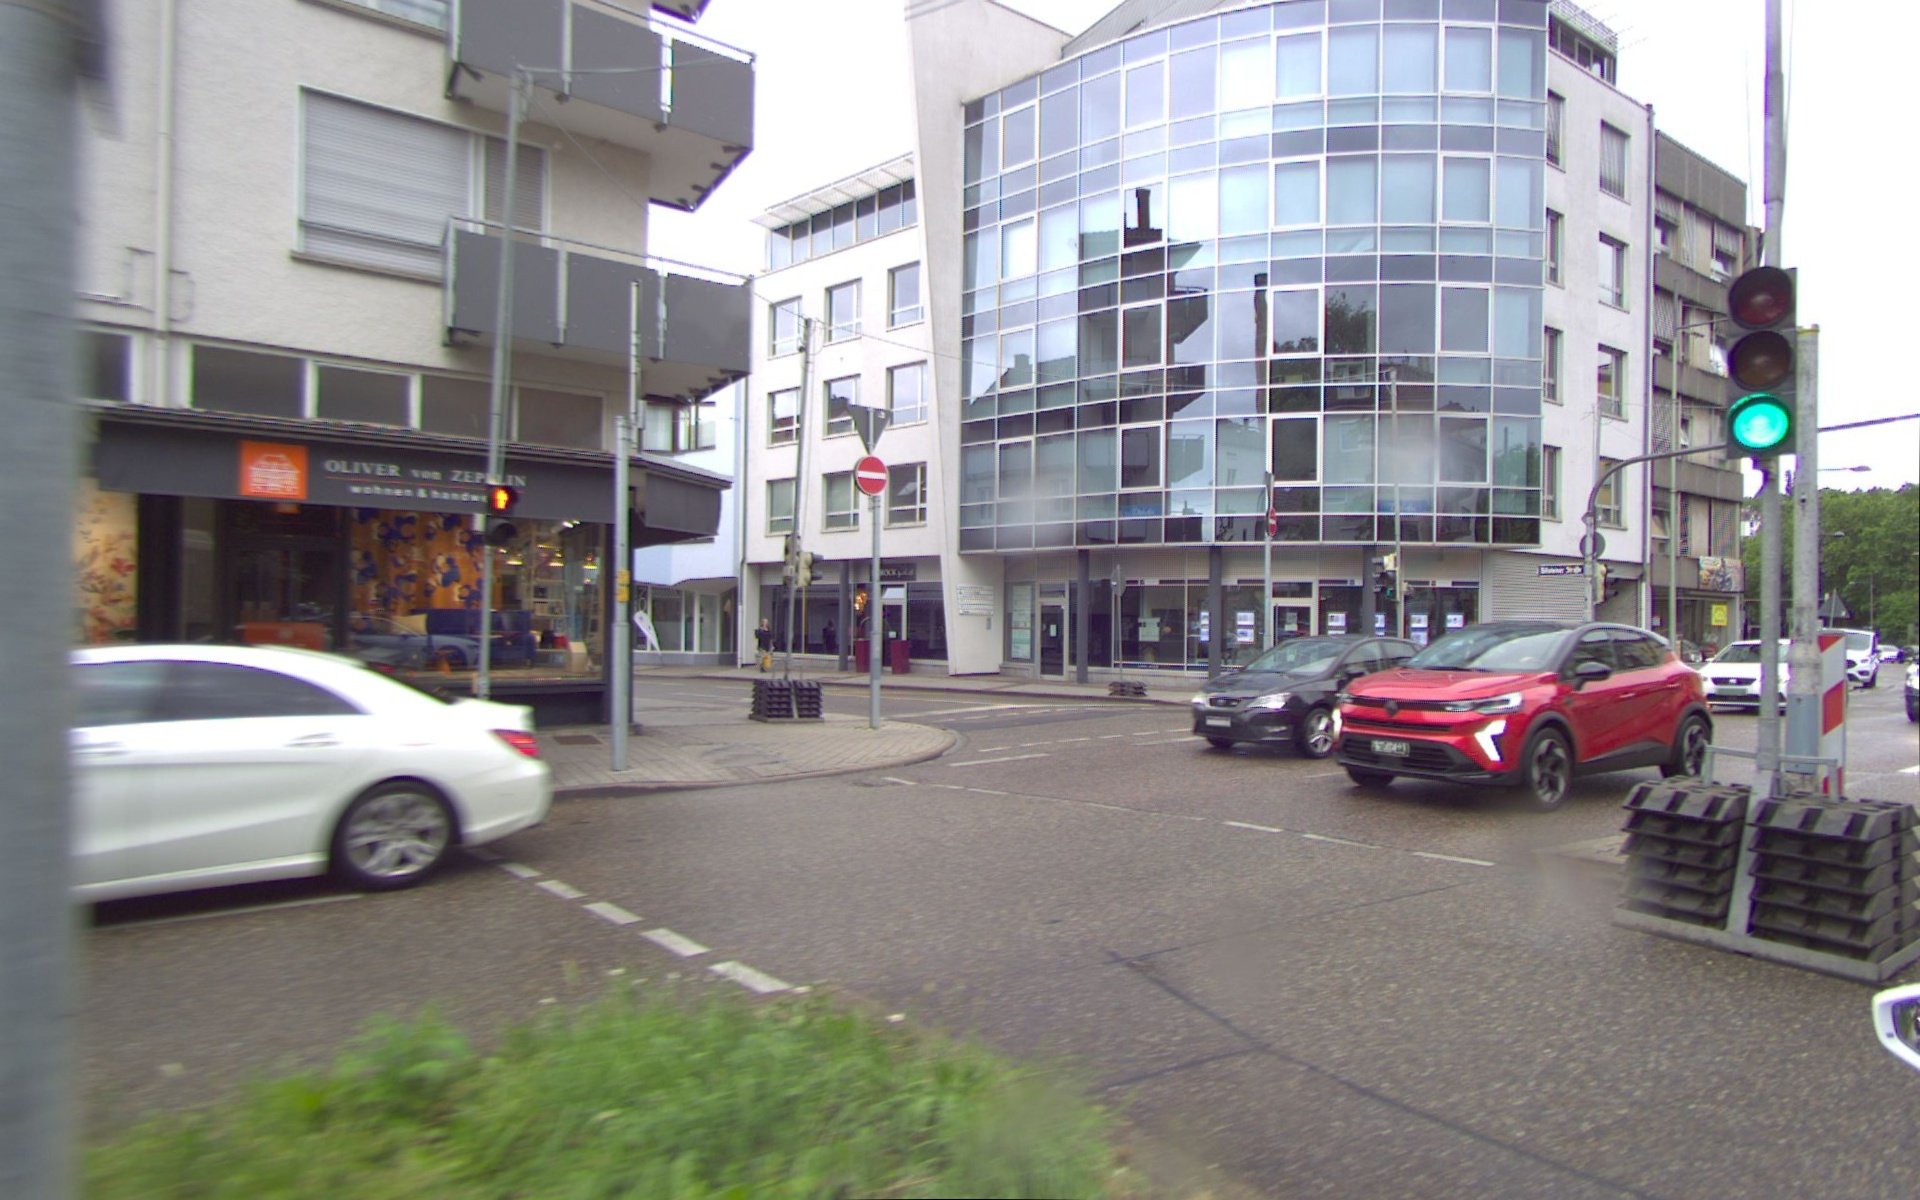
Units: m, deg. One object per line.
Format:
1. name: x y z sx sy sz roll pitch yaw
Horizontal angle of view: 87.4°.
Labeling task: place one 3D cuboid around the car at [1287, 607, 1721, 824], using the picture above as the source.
1. car: 5.127 0.931 9.354 4.046 1.615 1.837 2 -2 -33

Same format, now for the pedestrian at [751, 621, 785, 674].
1. pedestrian: -6.360 1.566 33.290 0.554 1.675 0.893 -1 2 39

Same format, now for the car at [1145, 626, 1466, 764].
1. car: 4.474 1.126 12.869 3.956 1.517 1.837 2 -3 -33

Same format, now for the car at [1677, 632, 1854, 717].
1. car: 16.402 1.436 20.400 4.242 1.544 1.760 2 -2 -36

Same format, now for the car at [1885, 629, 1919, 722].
1. car: 18.085 1.298 17.608 4.239 1.563 1.819 1 -2 -34

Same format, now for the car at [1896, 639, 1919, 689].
1. car: 30.939 1.993 31.491 4.570 1.493 1.912 3 -5 -42

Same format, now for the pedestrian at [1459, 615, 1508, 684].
1. pedestrian: 12.522 1.169 24.051 0.816 1.629 0.625 0 -1 -6

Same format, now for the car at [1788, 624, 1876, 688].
1. car: 31.859 2.055 36.631 2.096 2.041 5.099 3 -1 44

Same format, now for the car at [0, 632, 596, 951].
1. car: -4.606 0.923 5.515 4.579 1.436 1.830 2 -4 -41

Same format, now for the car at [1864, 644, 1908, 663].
1. car: 81.747 4.713 88.723 1.905 1.546 4.129 0 -3 29
